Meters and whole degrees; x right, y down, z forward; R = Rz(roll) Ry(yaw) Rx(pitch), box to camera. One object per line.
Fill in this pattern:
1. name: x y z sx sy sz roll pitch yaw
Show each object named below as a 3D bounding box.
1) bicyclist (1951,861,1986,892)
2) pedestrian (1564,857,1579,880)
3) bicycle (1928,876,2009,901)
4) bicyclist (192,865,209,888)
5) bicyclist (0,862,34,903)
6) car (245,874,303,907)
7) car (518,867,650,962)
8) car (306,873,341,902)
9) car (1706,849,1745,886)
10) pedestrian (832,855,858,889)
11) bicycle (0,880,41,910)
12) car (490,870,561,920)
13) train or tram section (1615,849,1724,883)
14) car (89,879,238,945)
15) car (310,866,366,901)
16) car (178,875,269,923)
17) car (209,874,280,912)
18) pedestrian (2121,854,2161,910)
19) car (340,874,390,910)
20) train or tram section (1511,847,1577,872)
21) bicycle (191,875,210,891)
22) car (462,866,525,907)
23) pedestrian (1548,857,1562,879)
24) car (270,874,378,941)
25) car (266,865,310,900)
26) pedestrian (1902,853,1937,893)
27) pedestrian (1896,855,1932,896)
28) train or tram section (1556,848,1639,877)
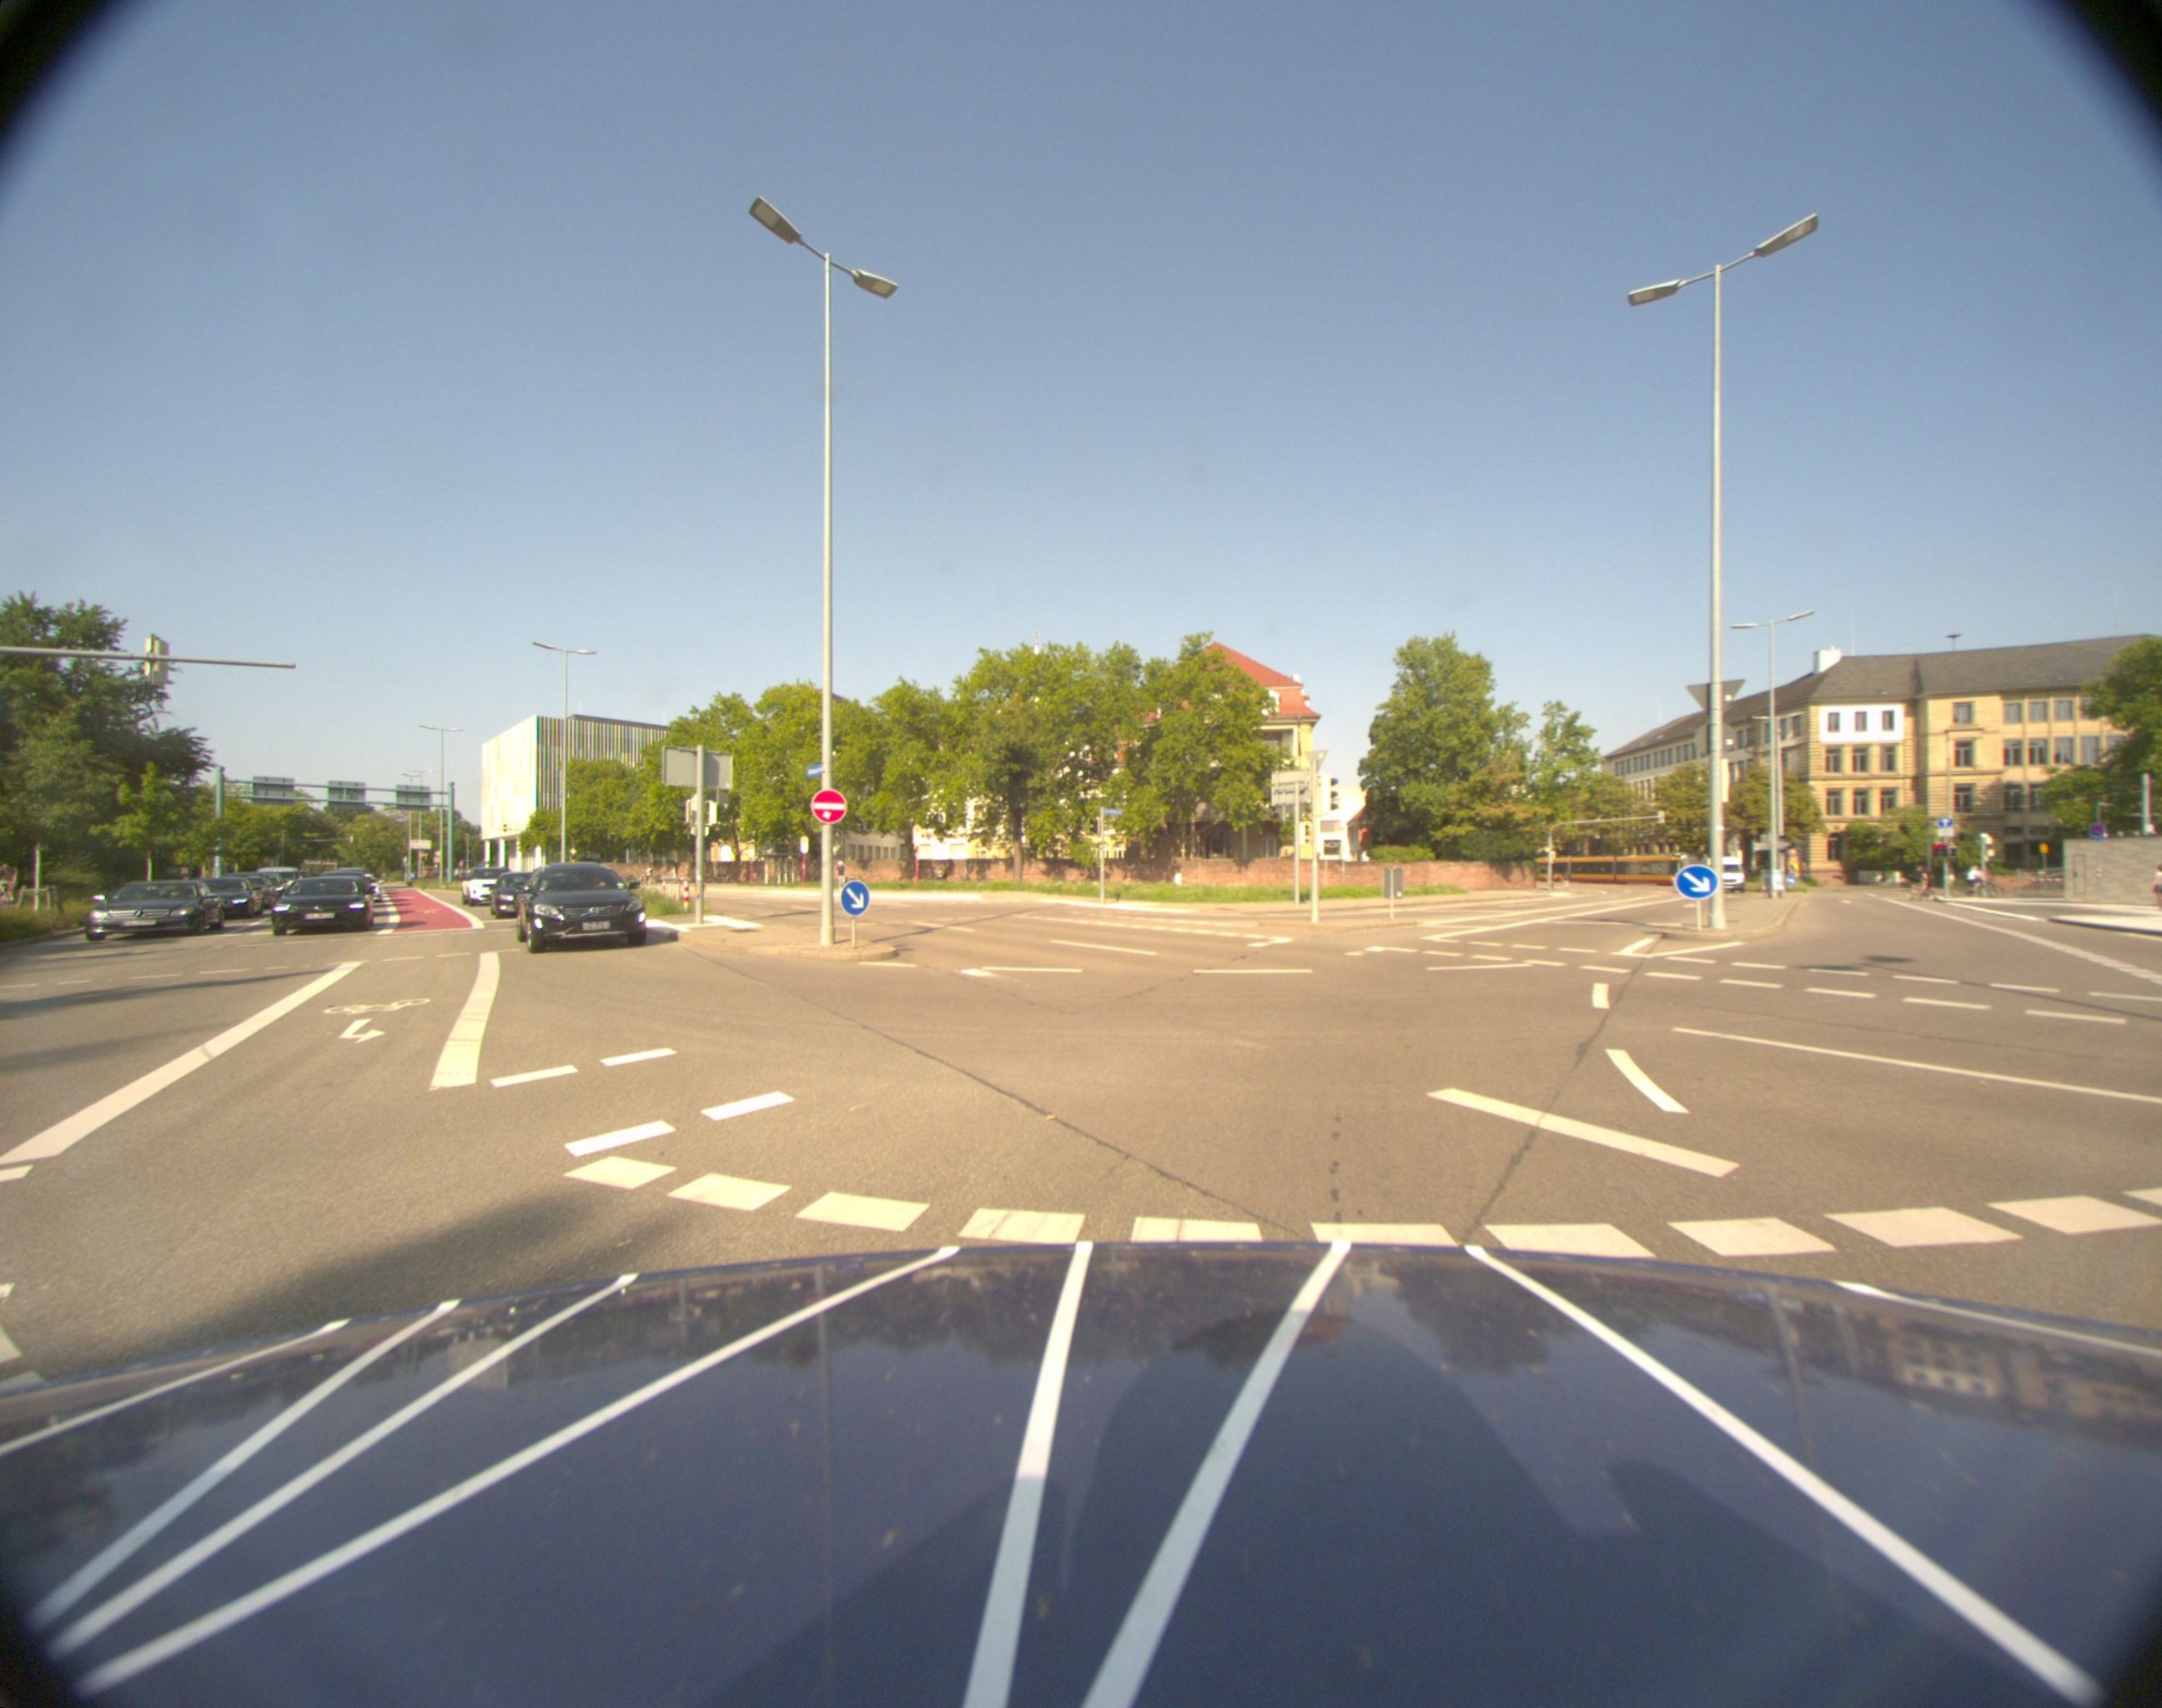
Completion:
1. bicyclist: 50.869 1.283 43.552 1.047 1.709 1.040 -1 1 35
2. pedestrian: 44.001 1.263 68.219 0.816 2.002 0.822 -2 1 5
3. bicycle: 50.853 1.968 43.596 2.854 1.365 1.040 -2 1 35
4. bicyclist: -64.814 1.627 55.921 0.921 1.666 0.775 0 0 43
5. bicyclist: -42.129 1.121 29.987 0.775 1.583 0.921 -1 0 -42
6. car: -39.236 1.725 37.011 1.692 1.483 4.360 0 -1 -44
7. car: -10.248 1.084 15.505 2.004 1.623 4.361 0 -1 -37
8. car: -53.449 2.301 53.619 4.061 1.930 1.692 -1 -1 44
9. car: 46.874 0.948 55.322 1.994 2.437 5.562 -1 1 39
10. pedestrian: -14.205 1.095 45.740 1.081 2.002 1.315 -1 1 -39
11. bicycle: -42.145 1.618 30.012 0.775 1.110 2.297 0 -1 -42
12. car: -18.134 1.272 24.729 1.629 1.489 3.839 0 -1 -40
13. train or tram section: 64.024 1.157 83.364 2.633 3.198 13.896 -2 1 7
14. car: -23.683 1.411 19.791 1.691 1.434 4.360 0 -1 -40
15. car: -33.377 1.280 34.222 1.692 1.483 4.360 0 -1 -43
16. car: -30.210 1.524 26.890 1.692 1.483 4.660 0 -1 -43
17. car: -35.871 1.627 32.668 1.692 1.483 4.360 0 -1 -43
18. pedestrian: 38.480 0.989 27.382 0.860 2.001 1.009 0 0 31
19. car: -36.924 1.914 39.208 1.788 1.596 4.408 1 0 -44
20. train or tram section: 67.298 0.724 110.885 2.633 3.198 13.896 -2 1 7
21. bicycle: -64.824 2.122 55.954 2.297 1.111 0.775 -1 0 43
22. car: -25.643 1.353 33.107 2.004 1.624 4.360 -2 1 -40
23. pedestrian: 43.553 1.304 69.838 0.820 2.002 0.817 -2 1 9
24. car: -20.041 1.339 20.276 1.691 1.483 4.360 -2 1 -41
25. car: -46.425 1.630 44.542 1.692 1.930 4.360 0 -1 -45
26. pedestrian: 43.236 0.976 39.194 1.346 2.001 1.209 0 0 -42
27. pedestrian: 41.554 1.055 37.906 1.346 2.001 1.209 0 0 -42
28. train or tram section: 65.675 0.940 97.160 2.633 3.198 13.896 -2 1 7
